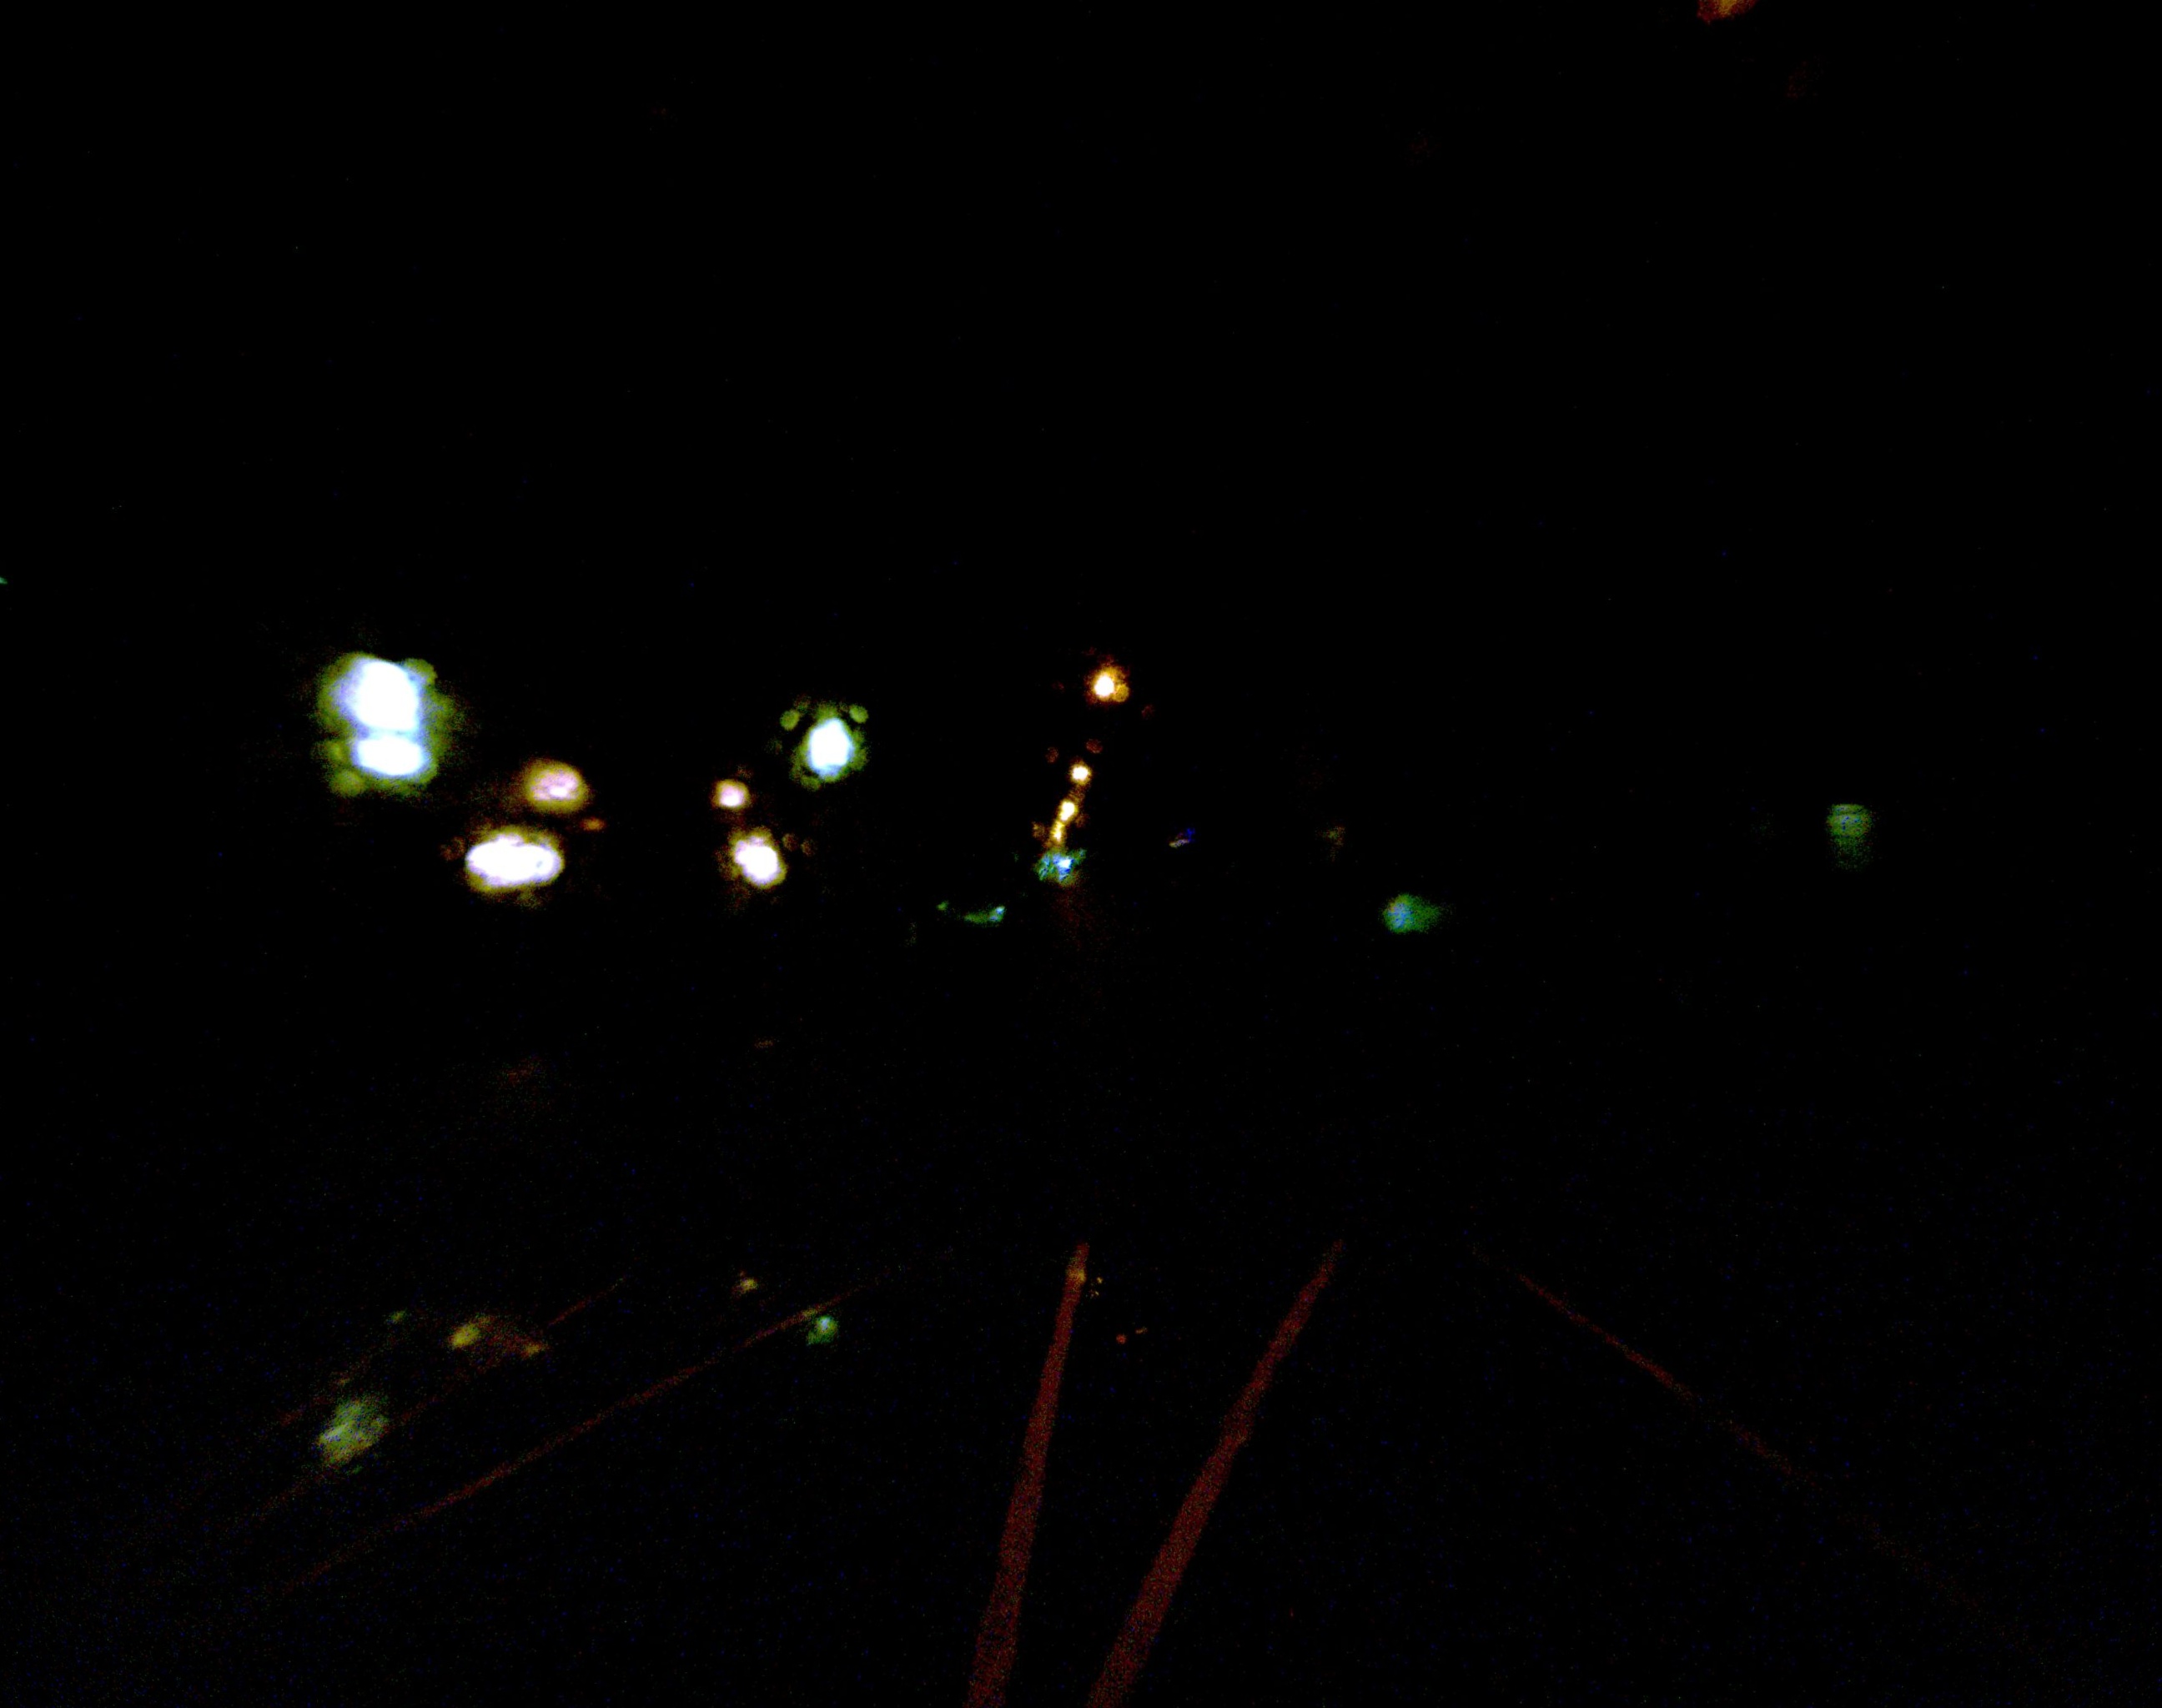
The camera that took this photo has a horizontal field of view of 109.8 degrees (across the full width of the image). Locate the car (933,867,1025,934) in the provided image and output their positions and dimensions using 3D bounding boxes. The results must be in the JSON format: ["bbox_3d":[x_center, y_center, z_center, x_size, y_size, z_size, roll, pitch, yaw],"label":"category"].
[{"bbox_3d":[-2.401,1.062,18.792,1.923,1.403,3.999,0,0,-3],"label":"car"}]

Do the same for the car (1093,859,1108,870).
[{"bbox_3d":[2.467,1.330,98.878,1.731,1.384,4.554,-1,0,-1],"label":"car"}]

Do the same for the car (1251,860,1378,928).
[{"bbox_3d":[5.874,0.937,19.674,1.837,1.472,4.305,-1,0,-2],"label":"car"}]

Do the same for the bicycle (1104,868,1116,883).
[{"bbox_3d":[2.191,1.575,56.899,0.729,1.066,2.347,0,0,-2],"label":"bicycle"}]

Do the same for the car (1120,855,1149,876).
[{"bbox_3d":[4.221,0.897,60.359,1.772,1.474,4.771,-4,0,-1],"label":"car"}]

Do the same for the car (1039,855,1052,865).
[{"bbox_3d":[-5.415,0.889,115.765,1.846,1.498,4.161,0,0,-2],"label":"car"}]

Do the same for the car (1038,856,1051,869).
[{"bbox_3d":[-5.002,1.164,104.186,1.676,1.712,3.855,0,0,-2],"label":"car"}]

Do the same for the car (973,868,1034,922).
[{"bbox_3d":[-2.393,1.244,24.153,1.694,1.489,3.890,0,0,-3],"label":"car"}]

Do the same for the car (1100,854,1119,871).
[{"bbox_3d":[3.284,0.973,87.915,1.908,1.818,4.828,-1,0,-1],"label":"car"}]

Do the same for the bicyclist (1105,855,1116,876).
[{"bbox_3d":[2.210,0.848,56.873,0.720,1.547,0.895,0,1,-2],"label":"bicyclist"}]

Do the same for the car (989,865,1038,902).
[{"bbox_3d":[-2.996,1.292,34.621,1.999,1.455,4.415,-1,0,-2],"label":"car"}]

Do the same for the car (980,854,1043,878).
[{"bbox_3d":[-5.183,0.891,57.212,4.525,1.522,1.780,3,0,-3],"label":"car"}]

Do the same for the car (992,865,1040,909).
[{"bbox_3d":[-2.534,1.224,29.169,1.694,1.489,3.889,0,0,-6],"label":"car"}]

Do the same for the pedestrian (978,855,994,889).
[{"bbox_3d":[-5.014,0.955,40.012,0.704,1.777,0.624,1,0,1],"label":"pedestrian"}]

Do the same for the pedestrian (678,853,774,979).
[{"bbox_3d":[-5.260,0.889,11.323,0.864,1.777,1.083,1,-1,1],"label":"pedestrian"}]

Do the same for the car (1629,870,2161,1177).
[{"bbox_3d":[6.483,0.923,5.346,1.837,1.477,4.593,-1,0,-2],"label":"car"}]

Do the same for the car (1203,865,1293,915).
[{"bbox_3d":[5.337,1.118,24.920,1.827,1.381,4.424,-1,0,-2],"label":"car"}]

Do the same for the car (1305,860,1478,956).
[{"bbox_3d":[5.881,0.937,14.919,1.750,1.579,3.764,-1,0,-2],"label":"car"}]

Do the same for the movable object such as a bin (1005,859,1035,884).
[{"bbox_3d":[-3.603,1.035,44.802,1.344,1.421,1.198,-1,1,-38],"label":"movable object such as a bin"}]

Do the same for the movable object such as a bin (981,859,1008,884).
[{"bbox_3d":[-5.003,1.023,44.078,1.311,1.421,1.051,-1,1,7],"label":"movable object such as a bin"}]

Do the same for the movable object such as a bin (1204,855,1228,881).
[{"bbox_3d":[7.893,0.803,44.429,1.104,1.445,1.378,0,0,-4],"label":"movable object such as a bin"}]

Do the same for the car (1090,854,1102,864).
[{"bbox_3d":[2.346,0.786,117.515,1.697,1.470,3.385,-1,-1,2],"label":"car"}]

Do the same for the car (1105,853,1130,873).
[{"bbox_3d":[3.414,0.858,72.774,2.001,1.818,5.205,-1,0,-1],"label":"car"}]

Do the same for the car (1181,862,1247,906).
[{"bbox_3d":[5.240,1.136,30.508,1.779,1.563,4.133,-1,0,-2],"label":"car"}]

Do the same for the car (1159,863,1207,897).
[{"bbox_3d":[4.957,1.221,37.333,1.676,1.482,3.720,-2,0,-2],"label":"car"}]

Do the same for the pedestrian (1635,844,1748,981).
[{"bbox_3d":[8.493,0.774,10.619,0.745,1.794,0.986,-3,1,1],"label":"pedestrian"}]

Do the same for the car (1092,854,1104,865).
[{"bbox_3d":[2.432,0.800,111.333,1.532,1.445,3.383,-1,0,-2],"label":"car"}]
